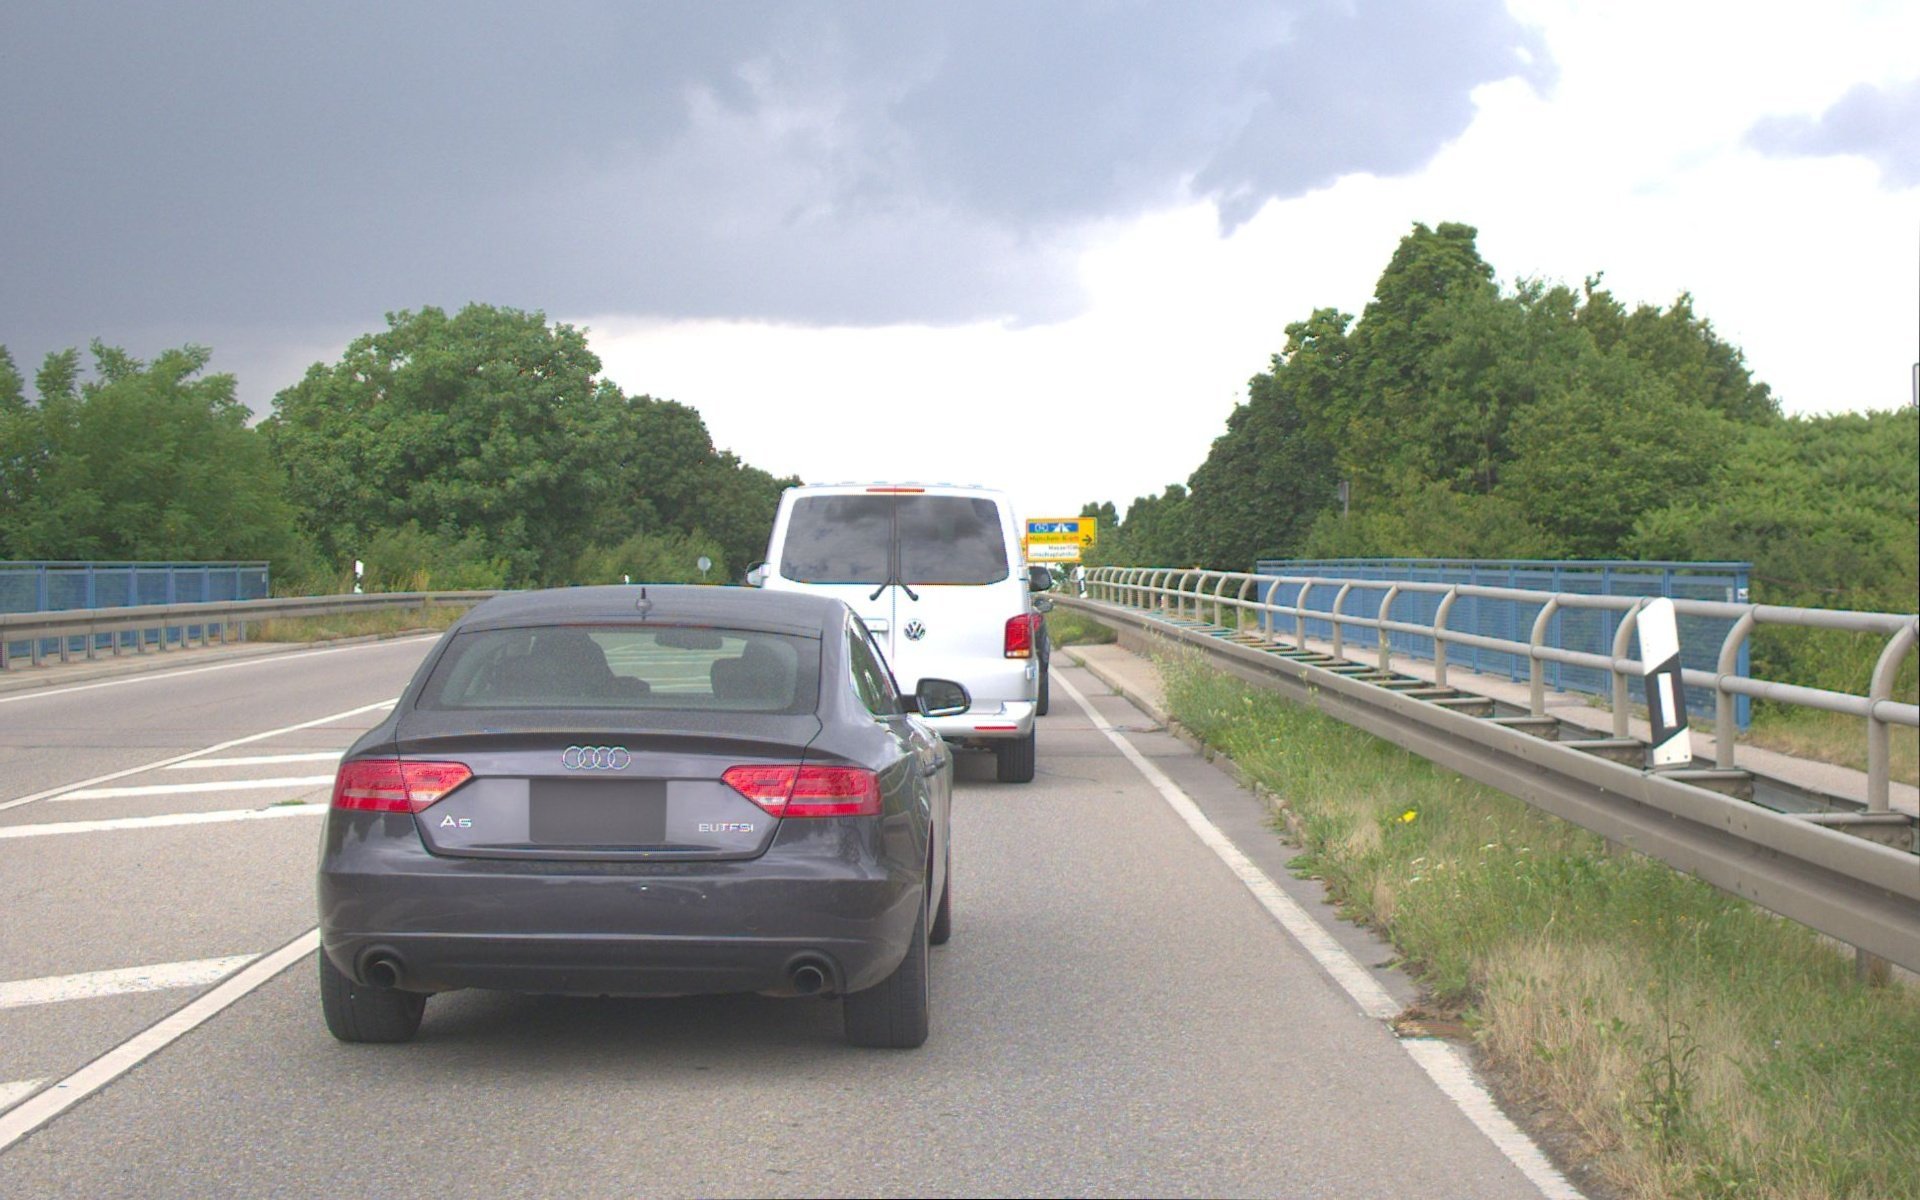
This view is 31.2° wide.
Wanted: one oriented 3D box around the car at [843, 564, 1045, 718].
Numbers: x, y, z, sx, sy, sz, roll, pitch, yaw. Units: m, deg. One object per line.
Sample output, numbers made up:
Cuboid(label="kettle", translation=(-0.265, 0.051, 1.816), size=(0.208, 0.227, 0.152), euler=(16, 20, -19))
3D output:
Cuboid(label="car", translation=(-0.115, 0.350, 33.081), size=(1.821, 1.376, 4.072), euler=(0, 1, 1))

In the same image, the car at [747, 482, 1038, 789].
Cuboid(label="car", translation=(-0.438, 0.203, 23.669), size=(1.828, 1.929, 4.000), euler=(0, 1, 0))

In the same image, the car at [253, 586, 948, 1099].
Cuboid(label="car", translation=(-0.991, 0.655, 11.436), size=(1.821, 1.376, 4.072), euler=(0, 1, 1))
